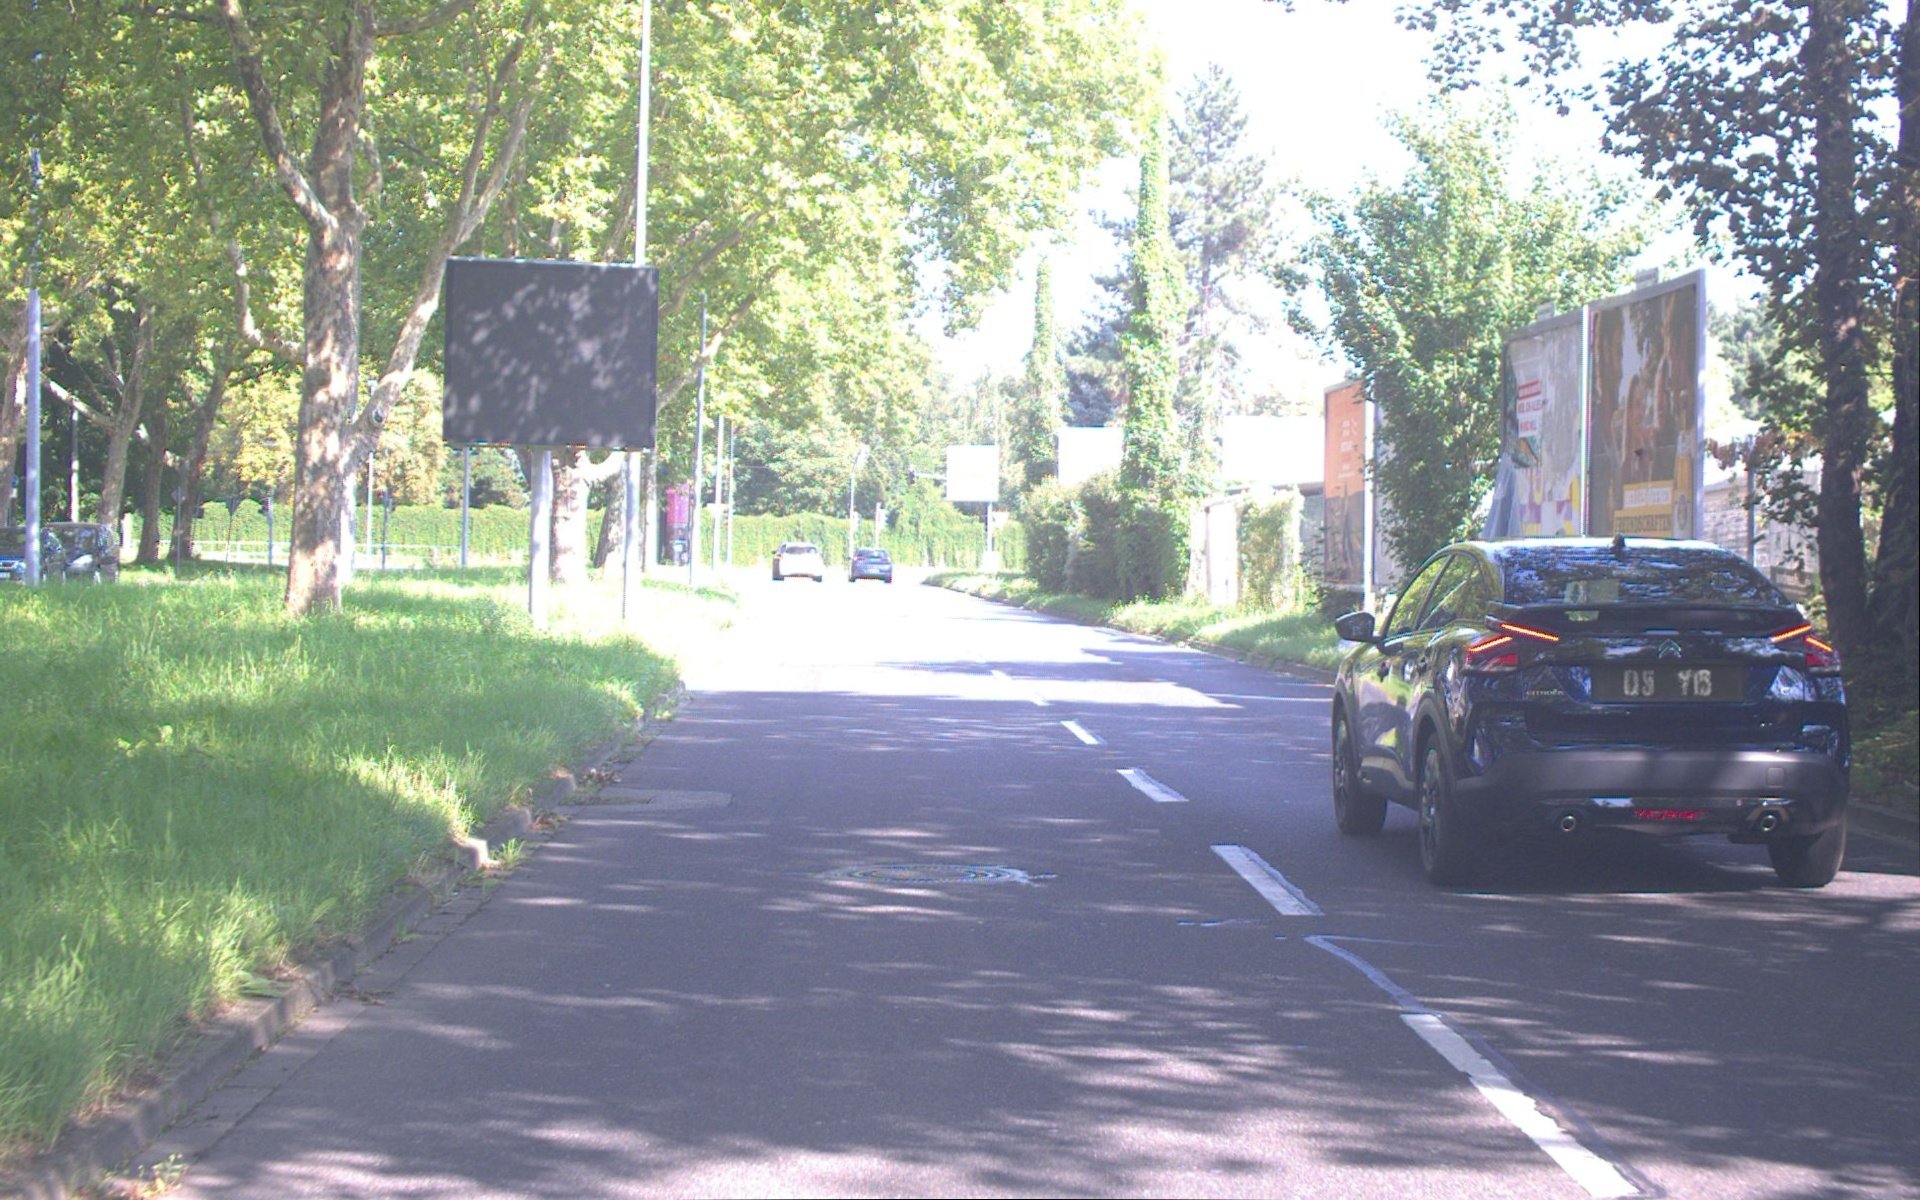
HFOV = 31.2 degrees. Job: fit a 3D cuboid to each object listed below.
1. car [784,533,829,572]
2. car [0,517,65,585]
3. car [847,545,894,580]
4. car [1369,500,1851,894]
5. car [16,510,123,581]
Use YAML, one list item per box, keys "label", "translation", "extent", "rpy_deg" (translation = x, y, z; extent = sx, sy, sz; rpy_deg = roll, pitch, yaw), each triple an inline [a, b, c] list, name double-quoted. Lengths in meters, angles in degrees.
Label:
- label: "car"
  translation: [-6.042, -1.881, 135.643]
  extent: [1.687, 1.457, 4.000]
  rpy_deg: [2, 1, -2]
- label: "car"
  translation: [-22.439, -1.163, 81.192]
  extent: [1.699, 1.562, 4.000]
  rpy_deg: [1, 1, -2]
- label: "car"
  translation: [-3.791, -1.580, 144.434]
  extent: [1.797, 1.396, 4.001]
  rpy_deg: [2, 1, -3]
- label: "car"
  translation: [2.891, 0.370, 16.099]
  extent: [1.645, 1.583, 4.254]
  rpy_deg: [1, 1, 3]
- label: "car"
  translation: [-23.102, -1.410, 89.344]
  extent: [1.699, 1.726, 4.660]
  rpy_deg: [2, 1, -2]
